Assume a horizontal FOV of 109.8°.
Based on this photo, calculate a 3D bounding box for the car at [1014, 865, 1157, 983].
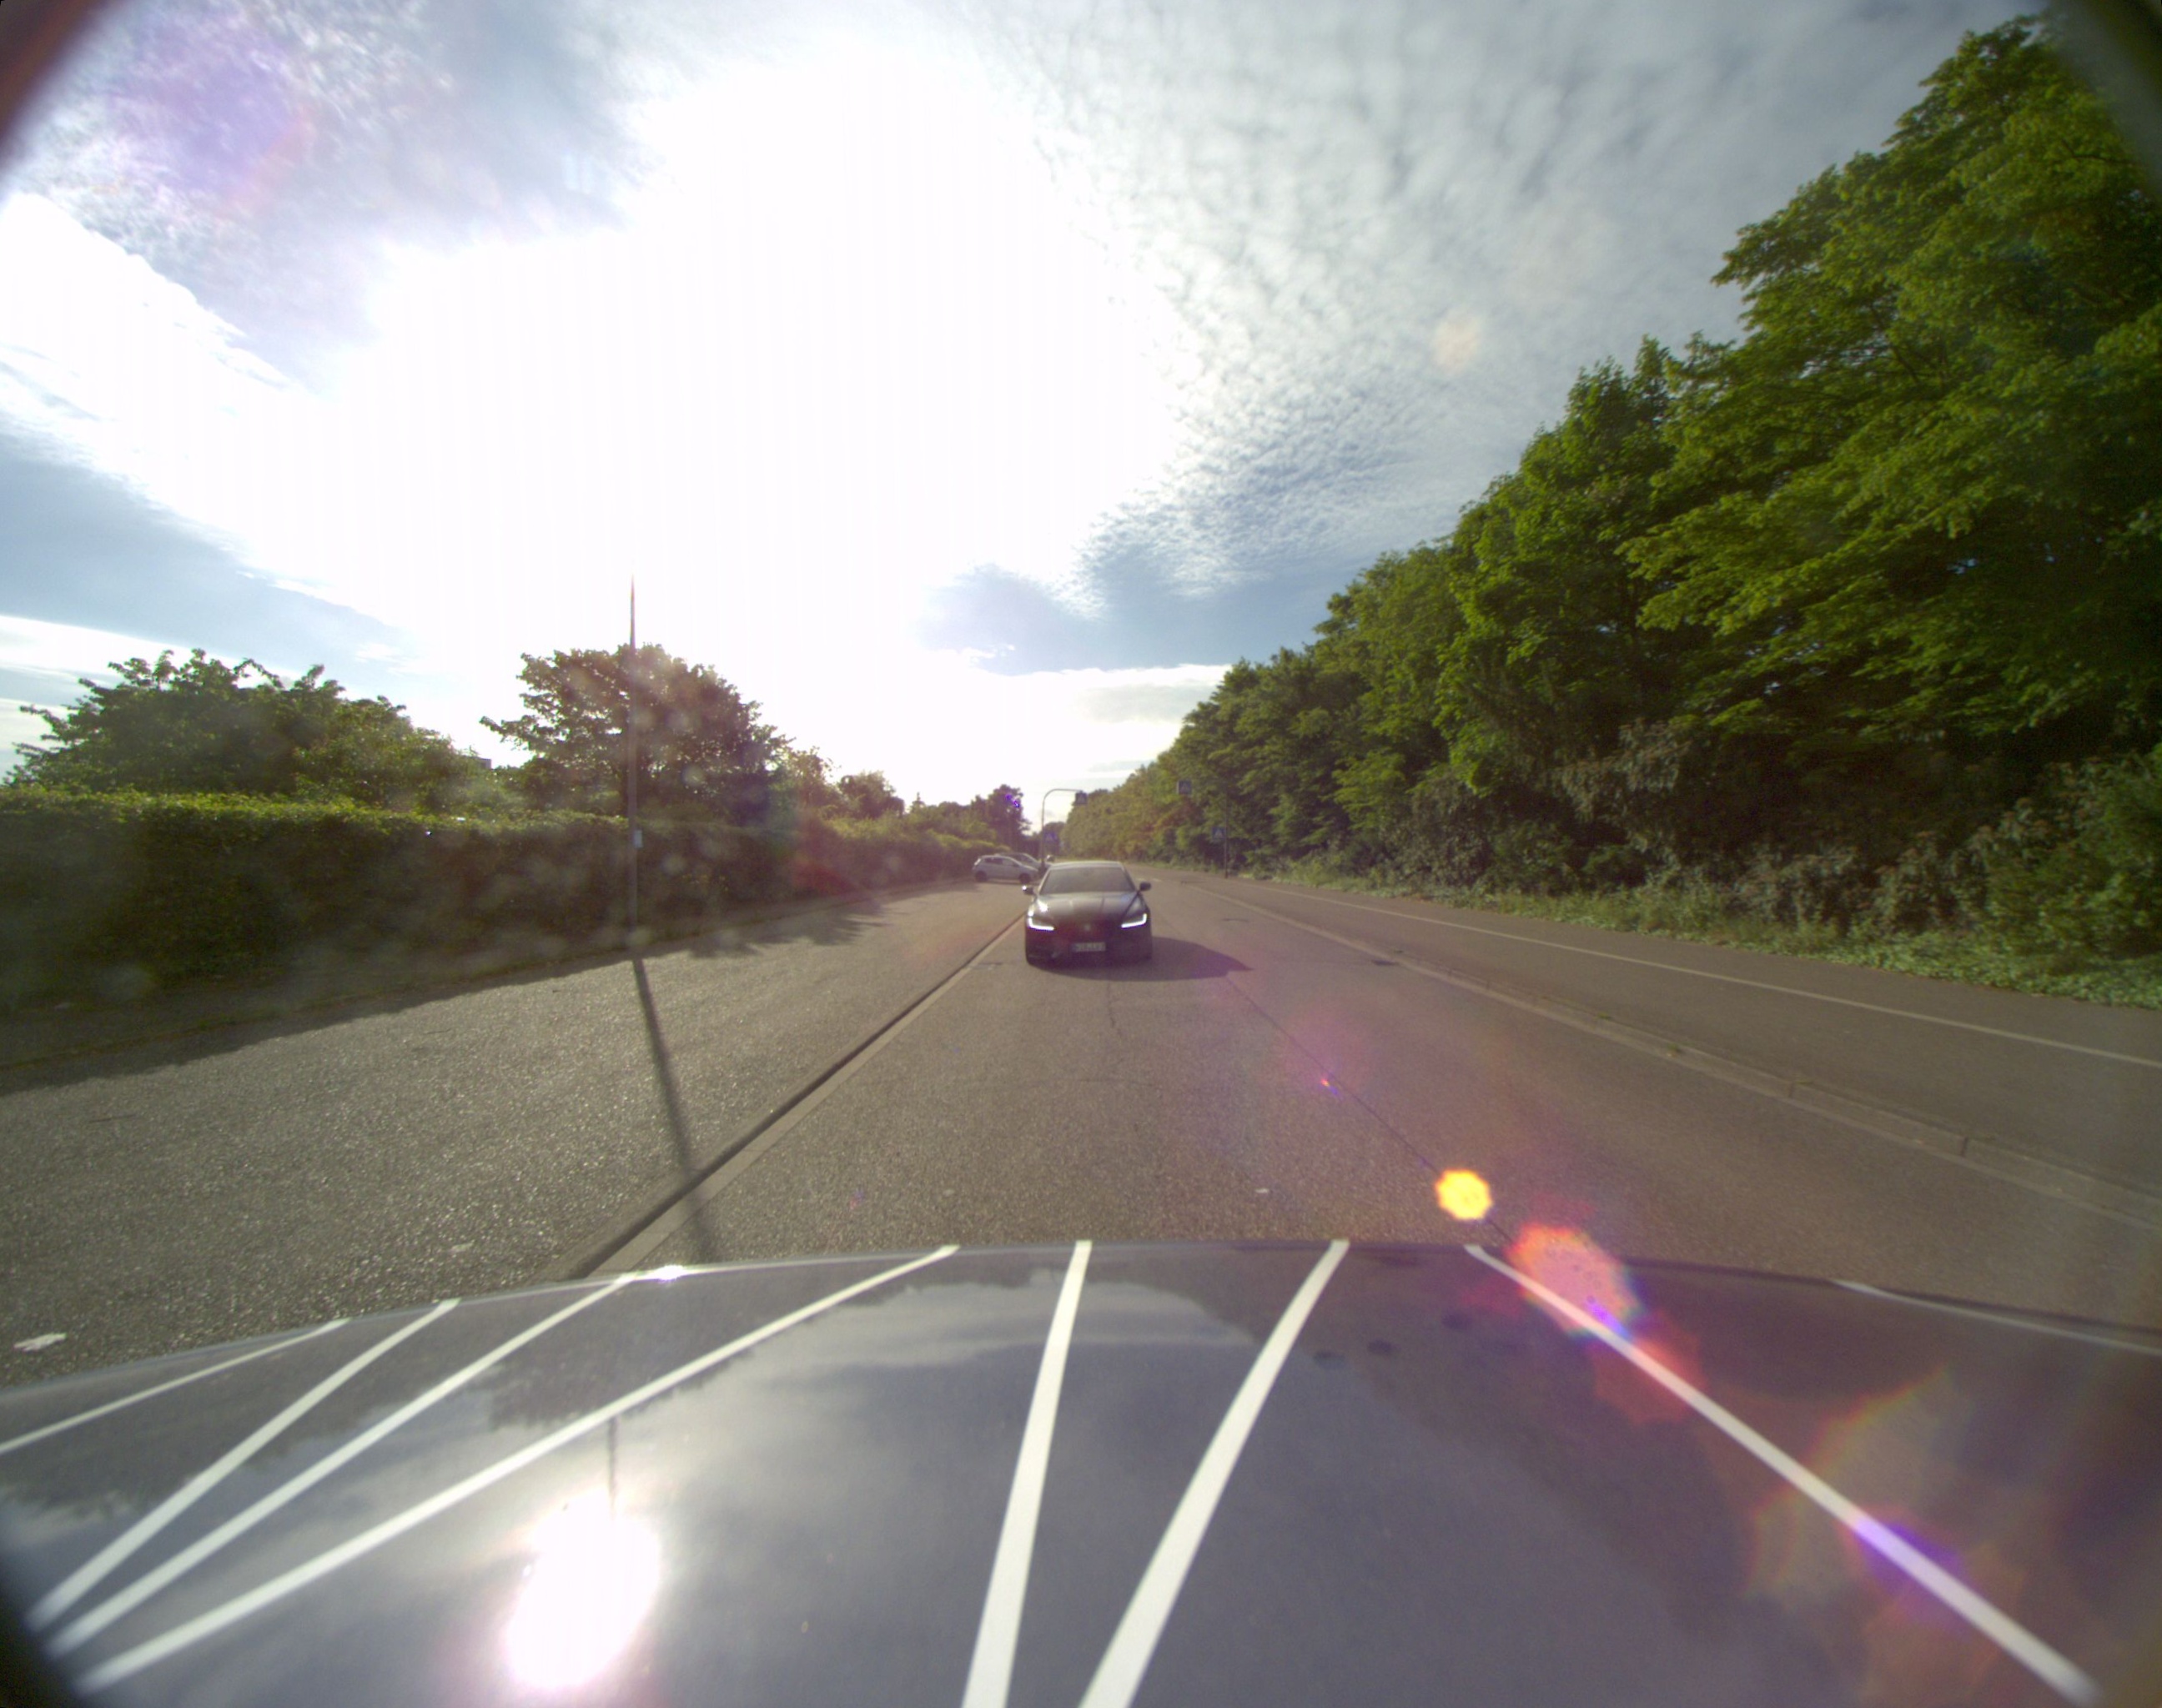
[{"bbox_3d":[0.066,0.991,12.750,1.936,1.501,4.679,-1,0,0],"label":"car"}]

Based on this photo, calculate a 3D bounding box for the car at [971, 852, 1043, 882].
[{"bbox_3d":[-4.194,0.733,43.290,3.867,1.481,1.692,3,-1,0],"label":"car"}]

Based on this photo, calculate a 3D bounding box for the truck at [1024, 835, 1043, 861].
[{"bbox_3d":[-7.826,-0.951,123.938,2.603,3.935,6.279,3,0,-7],"label":"truck"}]

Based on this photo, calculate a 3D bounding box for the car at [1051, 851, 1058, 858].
[{"bbox_3d":[-6.581,0.113,188.916,1.807,1.576,4.100,0,1,-3],"label":"car"}]

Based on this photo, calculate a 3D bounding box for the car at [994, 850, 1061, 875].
[{"bbox_3d":[-3.747,0.614,54.034,4.599,1.690,1.763,1,1,2],"label":"car"}]
